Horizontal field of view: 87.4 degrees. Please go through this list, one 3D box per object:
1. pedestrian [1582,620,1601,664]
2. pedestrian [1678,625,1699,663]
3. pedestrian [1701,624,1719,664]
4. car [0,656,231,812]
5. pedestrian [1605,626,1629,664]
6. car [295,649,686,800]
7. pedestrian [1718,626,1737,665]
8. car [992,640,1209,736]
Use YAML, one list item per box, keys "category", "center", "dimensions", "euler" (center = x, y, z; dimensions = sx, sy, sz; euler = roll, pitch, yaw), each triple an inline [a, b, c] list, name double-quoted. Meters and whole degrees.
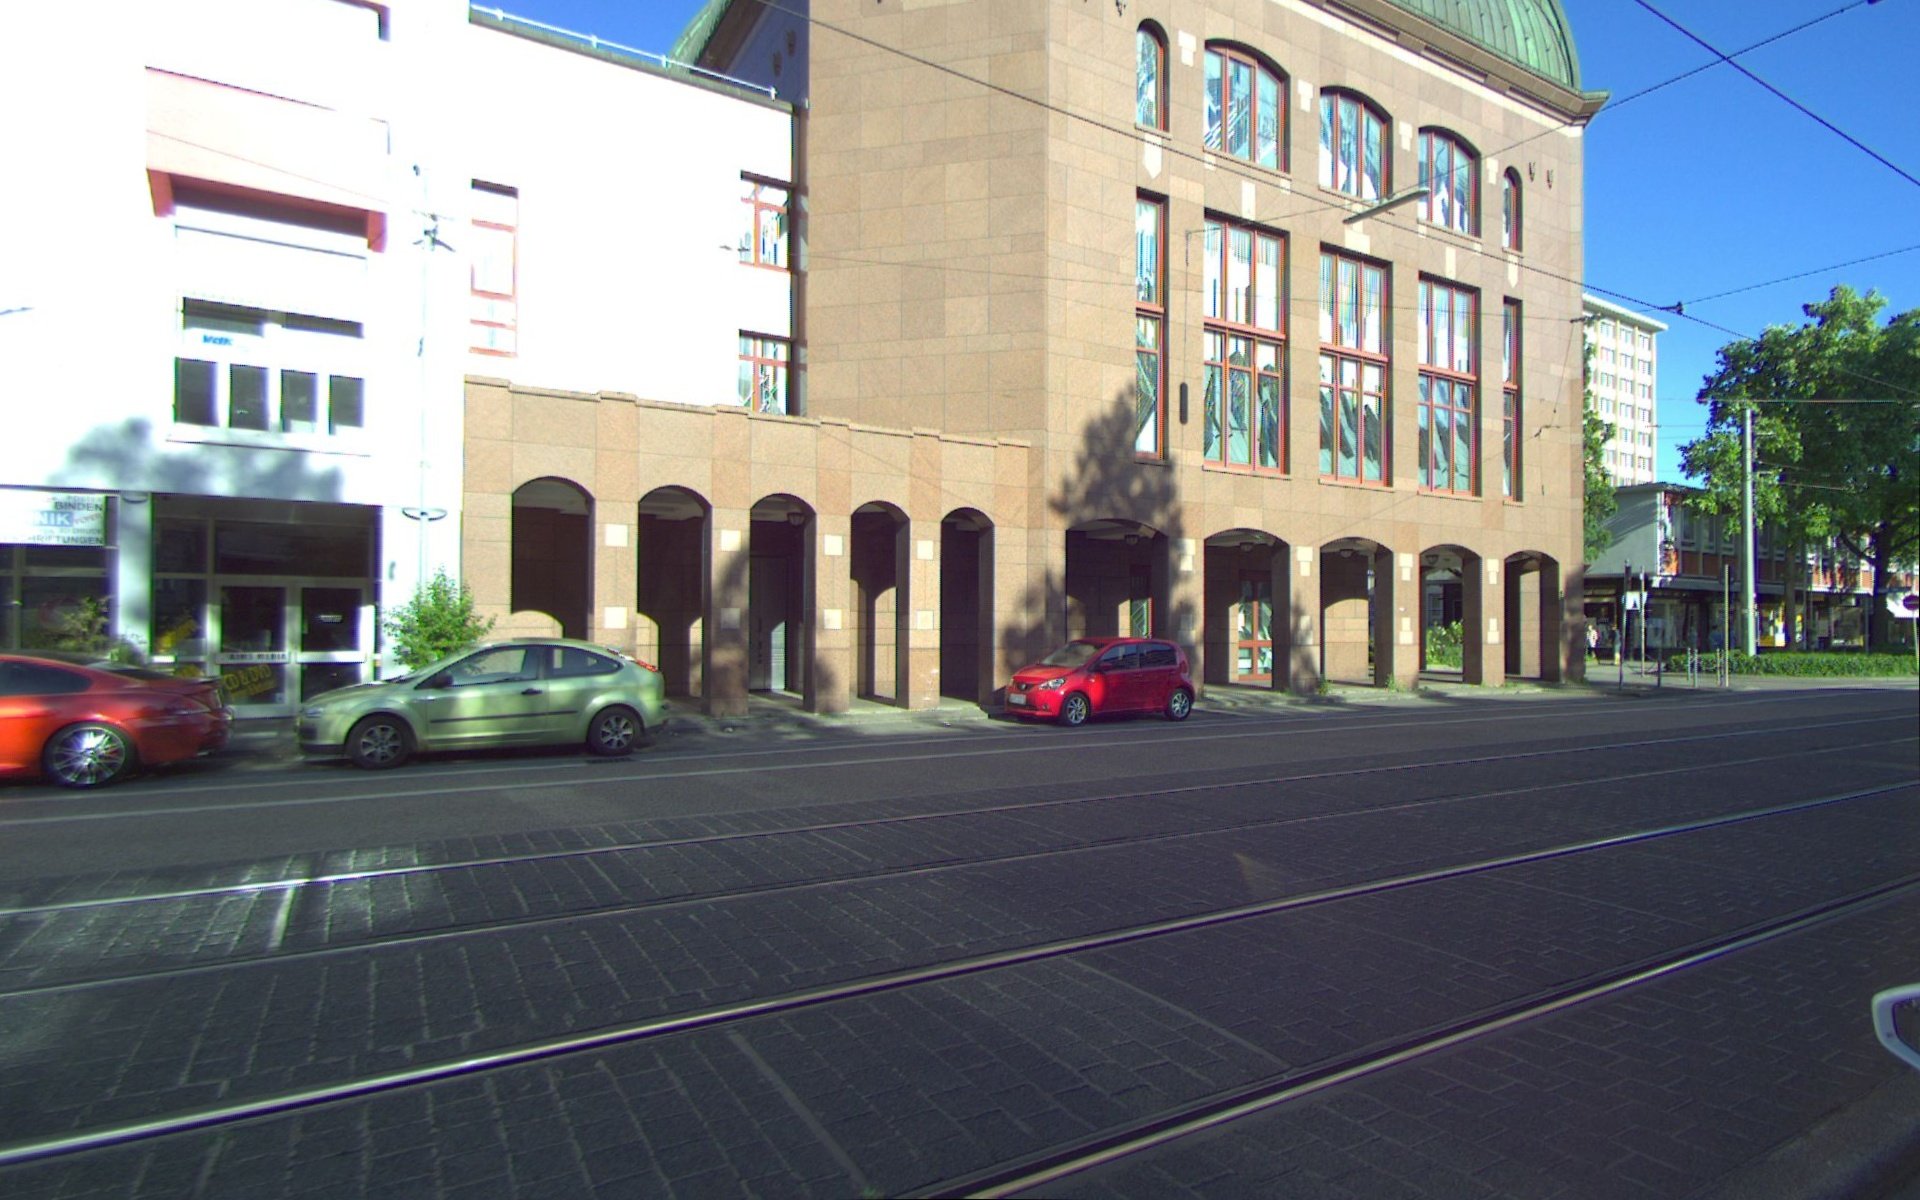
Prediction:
- category: "pedestrian"
  center: [30.418, 2.011, 48.404]
  dimensions: [0.591, 2.094, 0.669]
  euler: [1, 1, 15]
- category: "pedestrian"
  center: [36.114, 2.164, 49.819]
  dimensions: [0.666, 1.871, 0.623]
  euler: [0, 1, -33]
- category: "pedestrian"
  center: [35.704, 2.079, 47.816]
  dimensions: [0.533, 1.897, 0.586]
  euler: [0, 1, -39]
- category: "car"
  center: [-10.288, 1.329, 9.967]
  dimensions: [4.766, 1.343, 1.950]
  euler: [1, 0, -32]
- category: "pedestrian"
  center: [30.276, 2.067, 46.303]
  dimensions: [0.697, 1.716, 0.523]
  euler: [-1, -2, -7]
- category: "car"
  center: [-5.807, 1.436, 12.707]
  dimensions: [4.240, 1.488, 1.660]
  euler: [0, 0, -31]
- category: "pedestrian"
  center: [36.106, 2.140, 47.254]
  dimensions: [0.583, 1.826, 0.541]
  euler: [0, 1, -39]
- category: "car"
  center: [2.506, 1.476, 17.792]
  dimensions: [3.578, 1.441, 1.651]
  euler: [0, 0, -31]
